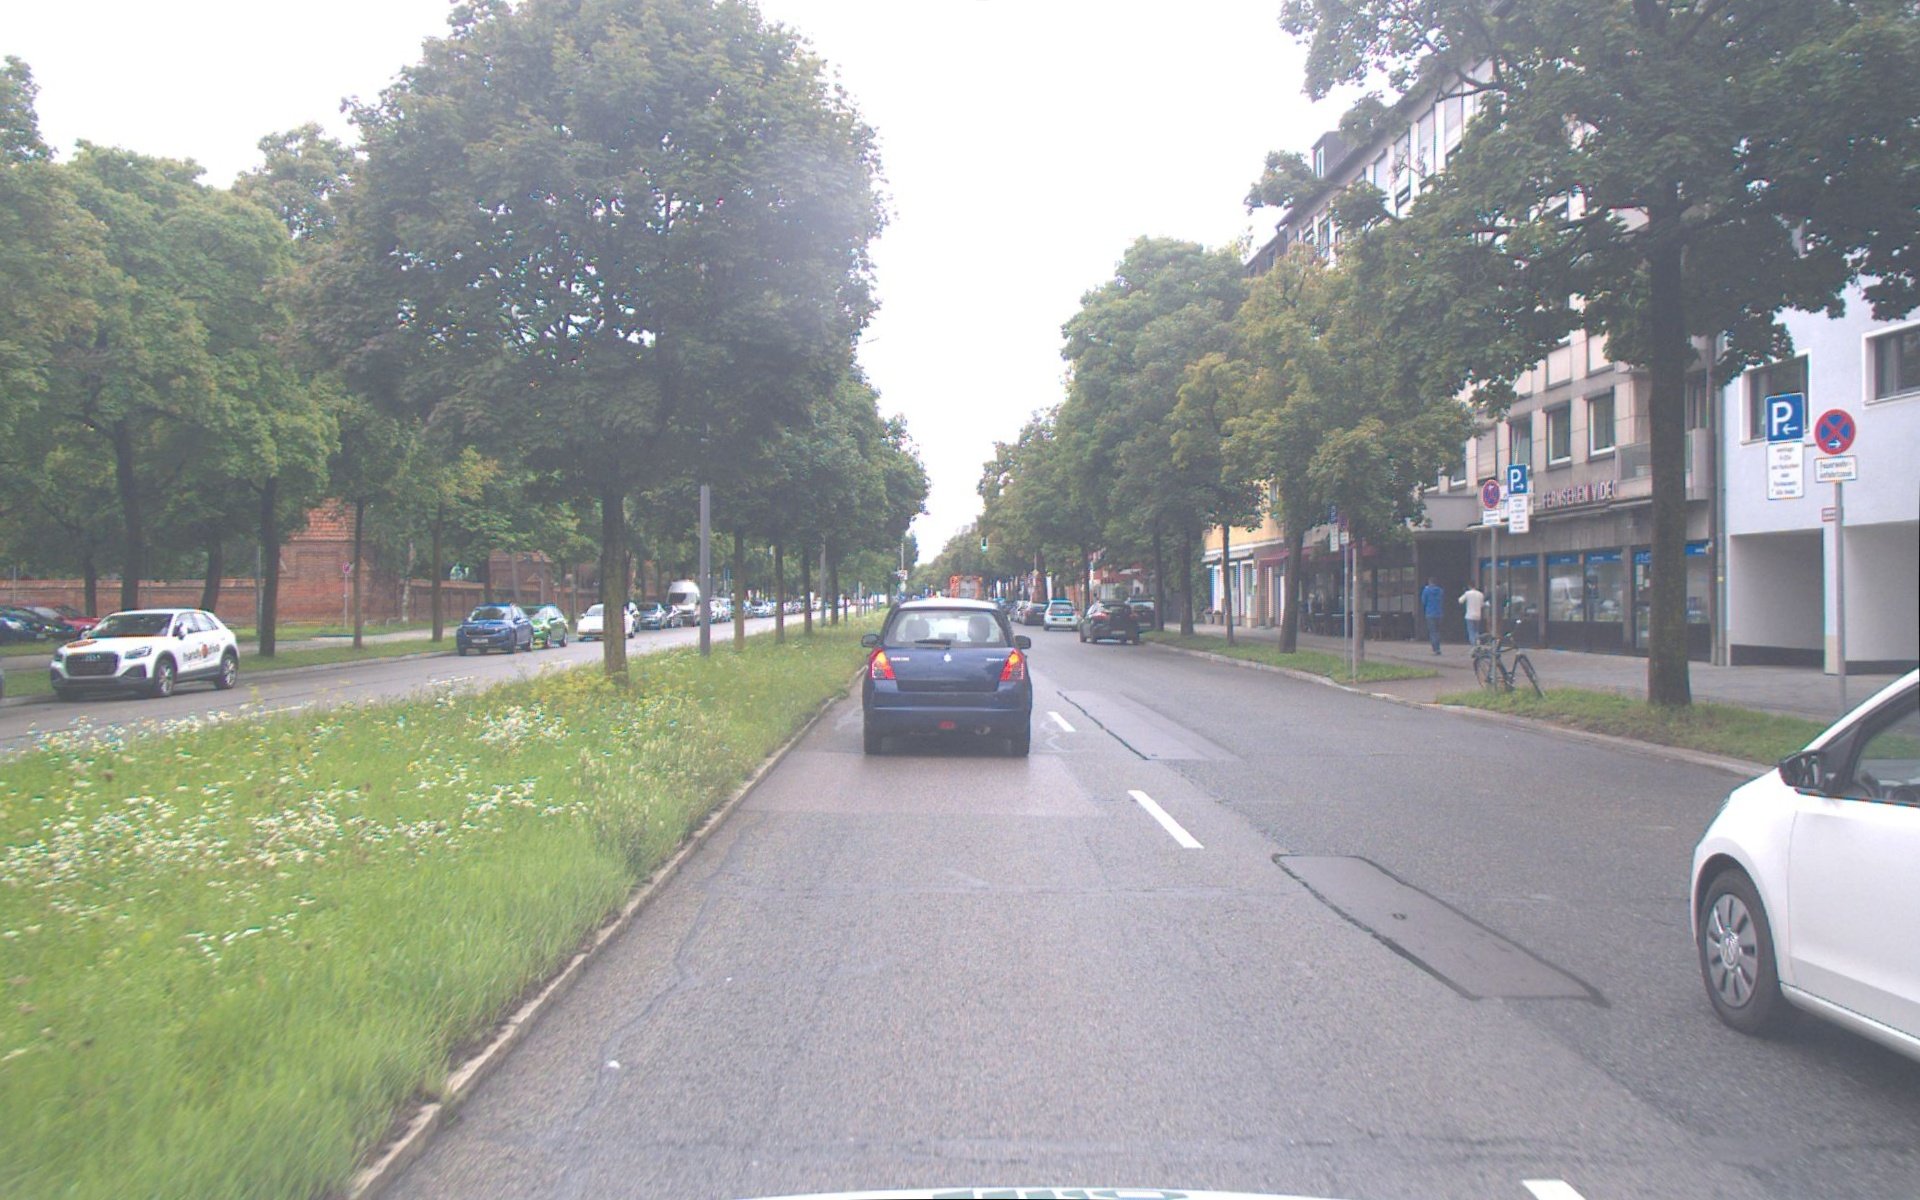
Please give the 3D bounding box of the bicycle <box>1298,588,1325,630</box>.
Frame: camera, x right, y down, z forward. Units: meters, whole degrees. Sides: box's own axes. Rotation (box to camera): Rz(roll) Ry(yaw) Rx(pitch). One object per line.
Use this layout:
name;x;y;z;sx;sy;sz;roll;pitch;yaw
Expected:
bicycle;12.831;0.316;60.388;0.568;1.489;1.688;-1;0;-1

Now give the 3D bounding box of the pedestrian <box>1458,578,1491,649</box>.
pedestrian;12.195;0.319;39.213;0.537;1.658;0.641;-2;0;-1

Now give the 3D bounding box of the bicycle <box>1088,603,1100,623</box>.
bicycle;6.832;0.641;84.198;0.439;0.997;1.798;0;0;-1

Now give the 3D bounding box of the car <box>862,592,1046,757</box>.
car;-0.065;0.692;17.431;1.717;1.531;4.000;0;0;0

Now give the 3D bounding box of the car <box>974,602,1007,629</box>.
car;1.803;0.935;98.870;1.784;1.503;4.689;2;0;-1

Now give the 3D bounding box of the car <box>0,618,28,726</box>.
car;-14.354;0.991;21.824;1.820;1.517;4.250;0;-1;-2

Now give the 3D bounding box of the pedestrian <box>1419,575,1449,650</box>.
pedestrian;11.221;0.299;39.180;0.489;1.763;0.732;0;0;-1

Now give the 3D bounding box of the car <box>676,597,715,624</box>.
car;-17.964;0.715;112.448;2.142;1.767;4.575;0;0;-4

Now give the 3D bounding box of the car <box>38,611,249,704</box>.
car;-14.383;0.982;29.423;1.820;1.517;4.140;0;-1;-2

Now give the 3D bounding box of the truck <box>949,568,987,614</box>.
truck;0.603;-0.739;136.953;2.979;3.619;13.673;0;0;0

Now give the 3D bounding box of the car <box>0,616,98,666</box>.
car;-28.093;1.224;49.277;3.896;1.416;1.759;-1;0;-1

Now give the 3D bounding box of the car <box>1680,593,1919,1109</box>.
car;3.662;0.751;4.700;1.652;1.516;3.434;1;0;-2

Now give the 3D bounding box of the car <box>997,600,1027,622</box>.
car;3.478;0.721;110.961;1.621;1.477;3.997;0;0;-3

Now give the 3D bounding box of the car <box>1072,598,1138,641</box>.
car;5.154;0.672;59.303;1.953;1.477;3.999;0;0;-1

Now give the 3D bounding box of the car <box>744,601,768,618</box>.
car;-19.068;0.896;154.731;1.765;1.561;3.999;-1;0;-1

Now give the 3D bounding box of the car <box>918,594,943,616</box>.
car;-2.081;0.356;115.199;1.684;1.527;4.299;0;0;-1

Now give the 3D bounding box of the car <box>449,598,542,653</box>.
car;-14.653;0.780;52.380;1.849;1.564;4.312;-3;0;-3

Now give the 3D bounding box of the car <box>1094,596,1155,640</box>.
car;6.612;0.699;66.940;1.953;1.671;4.332;0;0;-1

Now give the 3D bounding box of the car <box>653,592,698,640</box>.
car;-18.191;0.992;105.877;2.142;3.005;6.187;0;0;-4

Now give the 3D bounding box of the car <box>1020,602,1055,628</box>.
car;4.674;0.886;100.516;1.621;1.477;4.705;0;0;-3

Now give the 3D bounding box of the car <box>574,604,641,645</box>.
car;-14.854;1.004;69.964;1.724;1.564;4.315;-3;0;2

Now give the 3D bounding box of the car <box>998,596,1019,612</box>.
car;4.851;0.407;166.600;1.953;1.557;3.999;-1;0;-1

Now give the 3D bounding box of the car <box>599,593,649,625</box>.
car;-16.940;0.419;83.651;1.777;1.563;4.296;0;0;-2

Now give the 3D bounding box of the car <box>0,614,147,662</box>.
car;-27.894;1.175;51.435;4.323;1.416;1.759;-1;0;-1

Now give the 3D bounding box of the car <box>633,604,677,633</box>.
car;-17.211;1.013;93.549;1.777;1.563;4.439;0;0;-2

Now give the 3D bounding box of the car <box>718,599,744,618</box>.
car;-19.068;0.672;137.667;1.672;1.561;3.999;-1;0;-1

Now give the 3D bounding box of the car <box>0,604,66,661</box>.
car;-27.639;0.907;46.172;4.261;1.531;1.999;-1;0;-2

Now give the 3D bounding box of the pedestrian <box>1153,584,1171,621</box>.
pedestrian;10.593;0.142;86.743;0.776;1.888;0.776;-2;0;-4

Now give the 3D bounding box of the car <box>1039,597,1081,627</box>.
car;5.049;0.612;83.870;1.621;1.477;3.997;0;0;-3

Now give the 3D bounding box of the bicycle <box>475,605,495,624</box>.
bicycle;-24.408;0.763;85.030;0.642;0.953;1.618;0;0;-4

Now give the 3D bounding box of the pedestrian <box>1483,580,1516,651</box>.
pedestrian;12.848;0.356;39.421;0.530;1.669;0.724;0;0;-1

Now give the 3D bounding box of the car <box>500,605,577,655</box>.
car;-14.770;1.028;58.133;1.605;1.564;4.313;-3;0;-1

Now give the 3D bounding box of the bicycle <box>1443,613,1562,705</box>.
bicycle;7.908;0.832;24.214;0.447;1.278;2.138;0;0;-19

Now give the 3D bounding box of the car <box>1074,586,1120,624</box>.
car;6.444;0.221;78.004;1.778;1.654;4.307;-2;0;0
